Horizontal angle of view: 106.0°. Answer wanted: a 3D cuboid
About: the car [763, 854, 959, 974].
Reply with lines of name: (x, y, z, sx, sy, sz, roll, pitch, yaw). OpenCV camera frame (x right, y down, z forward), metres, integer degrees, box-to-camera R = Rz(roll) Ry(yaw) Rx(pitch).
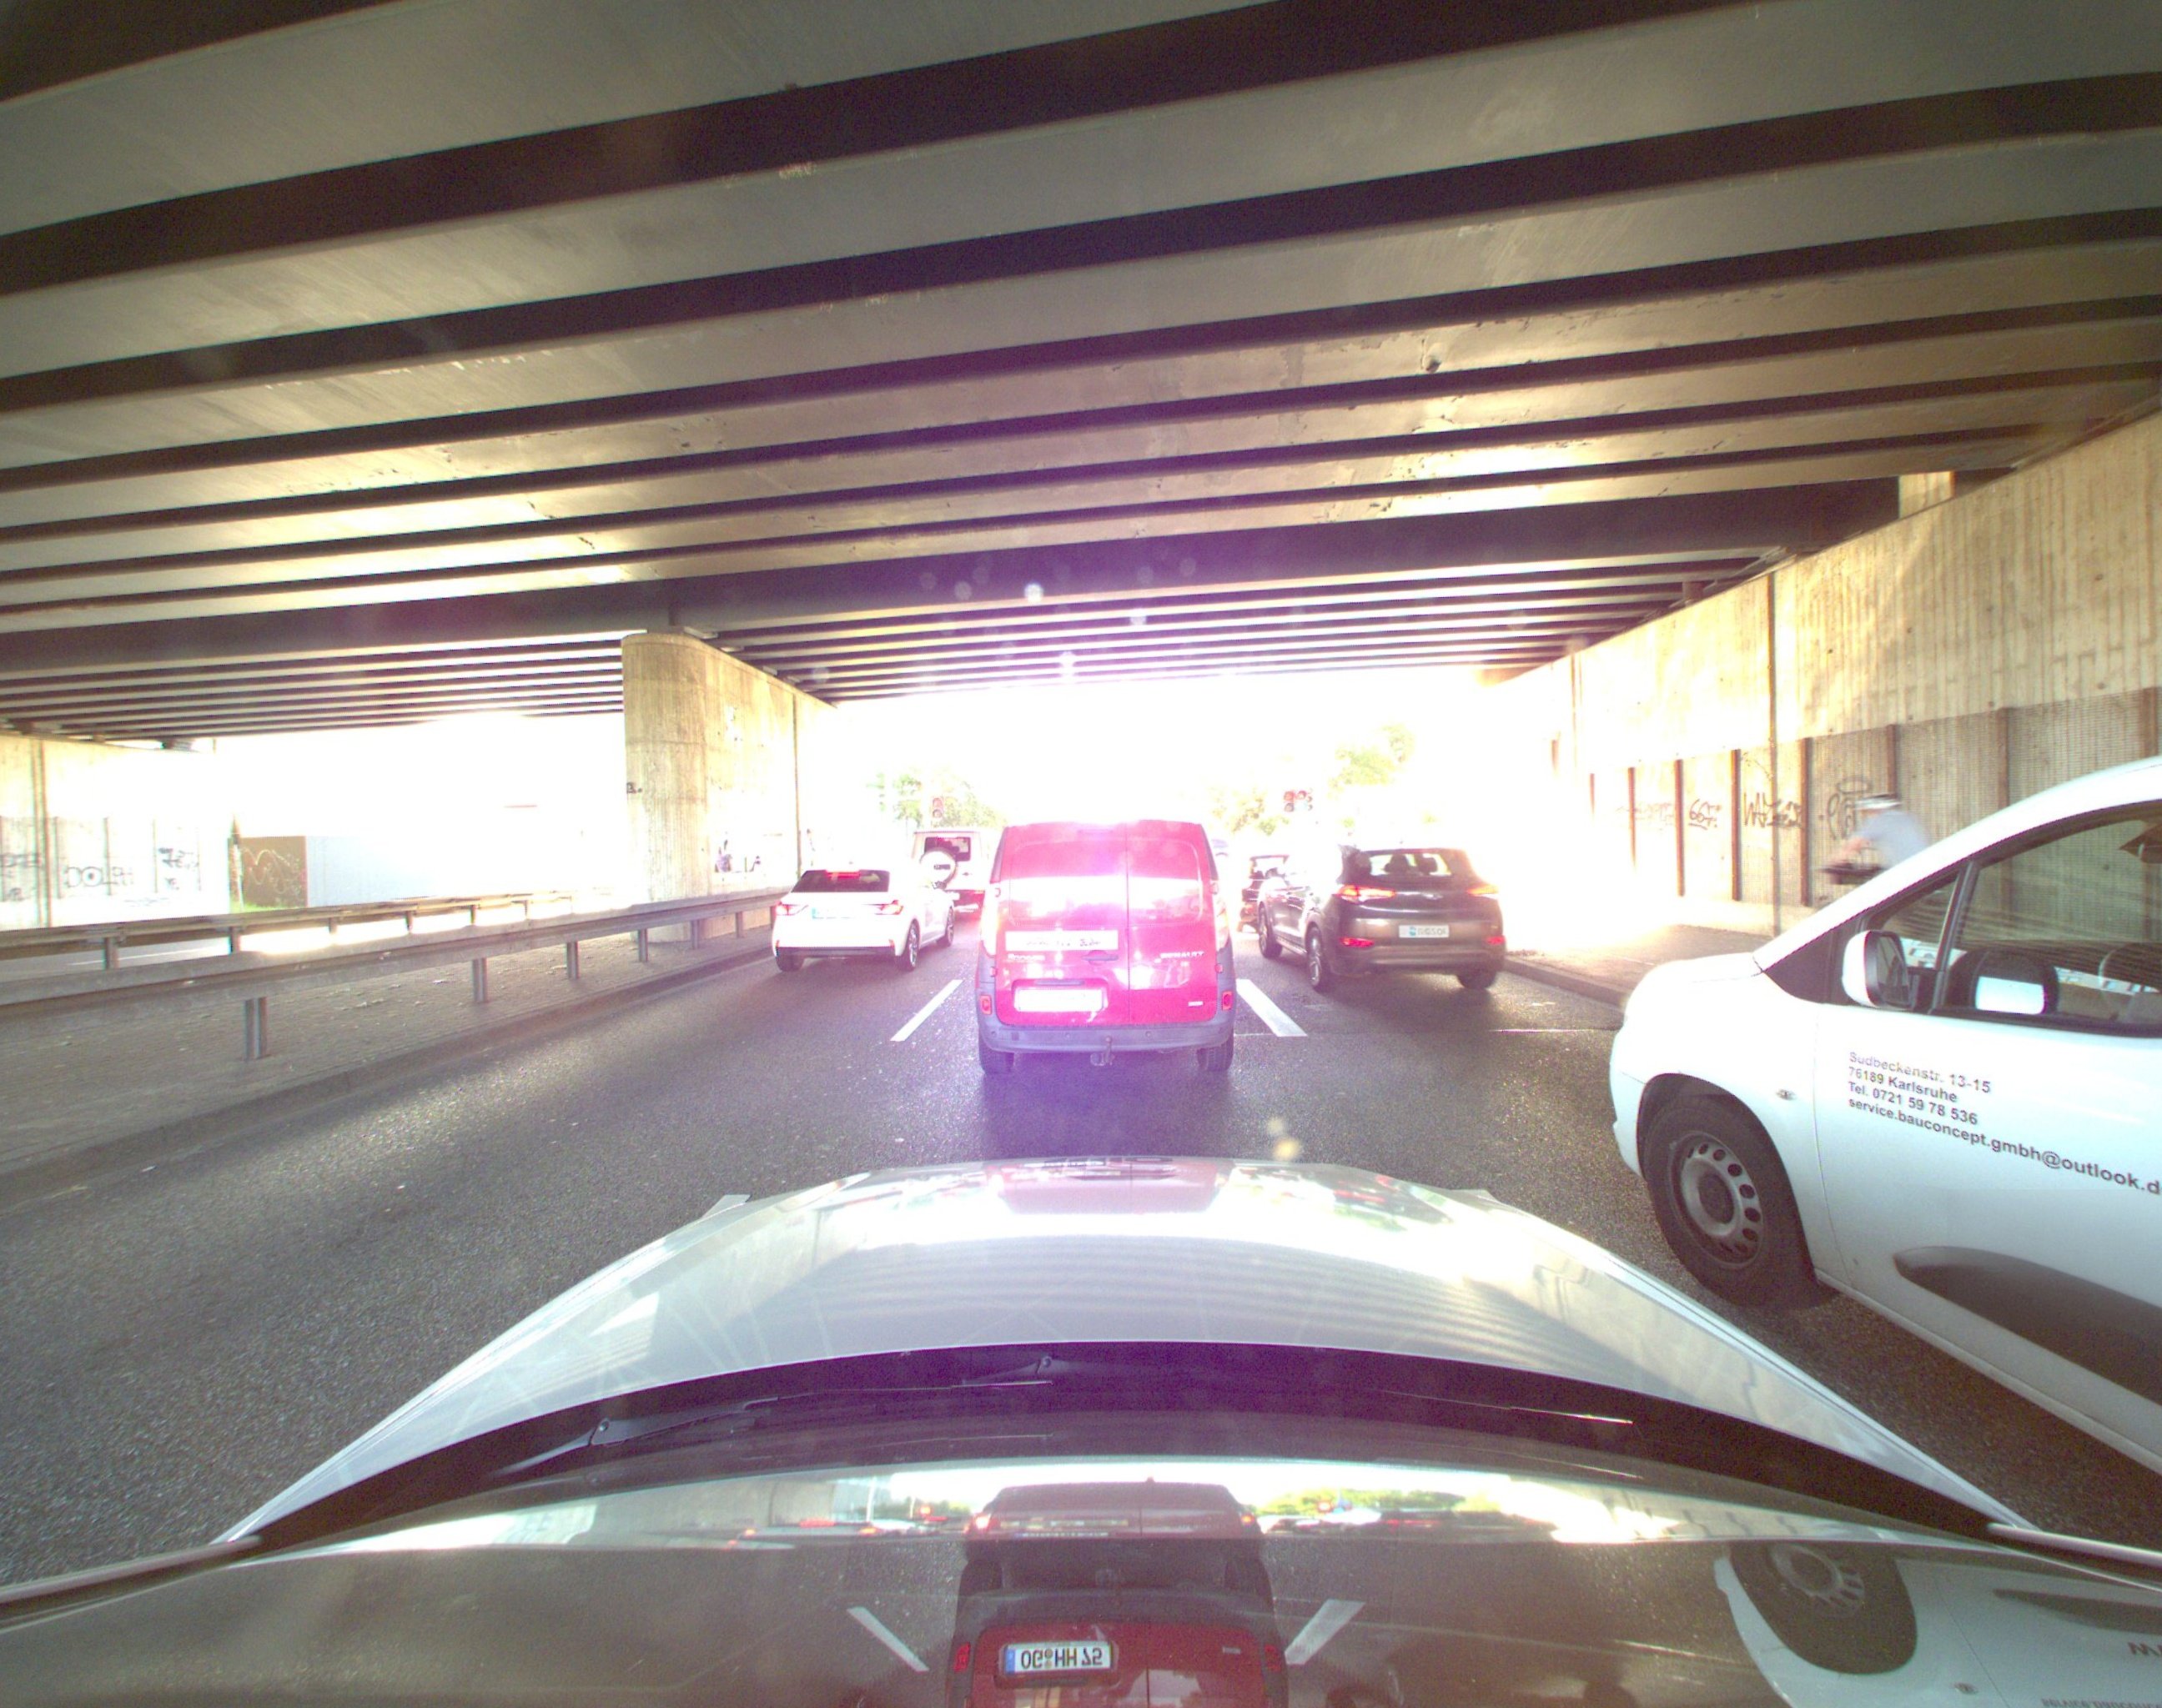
car: (-2.927, 0.723, 11.691, 1.686, 1.410, 3.814, 0, 0, 1)

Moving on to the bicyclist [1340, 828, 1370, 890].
bicyclist: (7.312, 0.132, 21.764, 0.673, 1.629, 0.646, 0, -1, 12)

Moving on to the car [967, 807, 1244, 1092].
car: (0.213, 0.592, 7.071, 1.712, 1.764, 4.002, 0, 0, 2)

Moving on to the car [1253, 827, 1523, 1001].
car: (3.338, 0.559, 9.735, 1.772, 1.655, 3.990, 0, 0, 1)

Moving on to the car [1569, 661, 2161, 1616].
car: (2.974, 0.545, 1.316, 1.808, 1.833, 4.300, 0, 1, 0)

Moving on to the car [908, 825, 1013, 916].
car: (-2.687, 0.343, 18.986, 1.807, 1.904, 3.814, 0, 0, 1)

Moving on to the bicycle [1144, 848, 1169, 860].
bicycle: (6.037, 0.015, 64.998, 1.908, 0.867, 0.605, -1, 0, -2)

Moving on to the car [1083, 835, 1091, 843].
car: (1.565, -3.886, 211.525, 1.986, 2.014, 4.001, 0, 0, 2)

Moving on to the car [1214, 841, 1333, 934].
car: (3.555, 0.539, 15.687, 1.645, 1.552, 3.868, 0, 1, 4)

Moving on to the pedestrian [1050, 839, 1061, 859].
pedestrian: (-2.012, -0.382, 64.233, 0.834, 1.554, 0.557, -1, 0, -1)

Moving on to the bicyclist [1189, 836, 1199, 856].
bicyclist: (8.878, -0.623, 64.041, 0.752, 1.542, 0.697, -1, 0, 2)

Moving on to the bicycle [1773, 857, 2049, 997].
bicycle: (7.352, 0.587, 7.360, 0.699, 1.057, 1.761, -3, 0, 2)

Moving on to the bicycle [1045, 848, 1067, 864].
bicycle: (-1.985, 0.132, 64.234, 1.724, 1.233, 0.557, -1, 0, -2)

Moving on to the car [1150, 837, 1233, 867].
car: (6.114, -0.108, 45.428, 4.338, 1.607, 1.997, 0, -1, -4)

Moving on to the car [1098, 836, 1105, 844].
car: (5.606, -3.892, 220.888, 1.986, 2.014, 4.001, 0, 0, 2)

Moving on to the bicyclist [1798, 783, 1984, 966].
bicyclist: (7.326, 0.179, 7.418, 0.693, 1.524, 0.910, -4, -1, 2)

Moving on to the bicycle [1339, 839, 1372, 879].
bicycle: (7.302, 0.127, 21.703, 0.672, 1.024, 1.534, 0, -1, 12)

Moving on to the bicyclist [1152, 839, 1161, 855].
bicyclist: (5.987, -0.563, 64.998, 0.651, 1.329, 0.602, 0, -1, -2)
